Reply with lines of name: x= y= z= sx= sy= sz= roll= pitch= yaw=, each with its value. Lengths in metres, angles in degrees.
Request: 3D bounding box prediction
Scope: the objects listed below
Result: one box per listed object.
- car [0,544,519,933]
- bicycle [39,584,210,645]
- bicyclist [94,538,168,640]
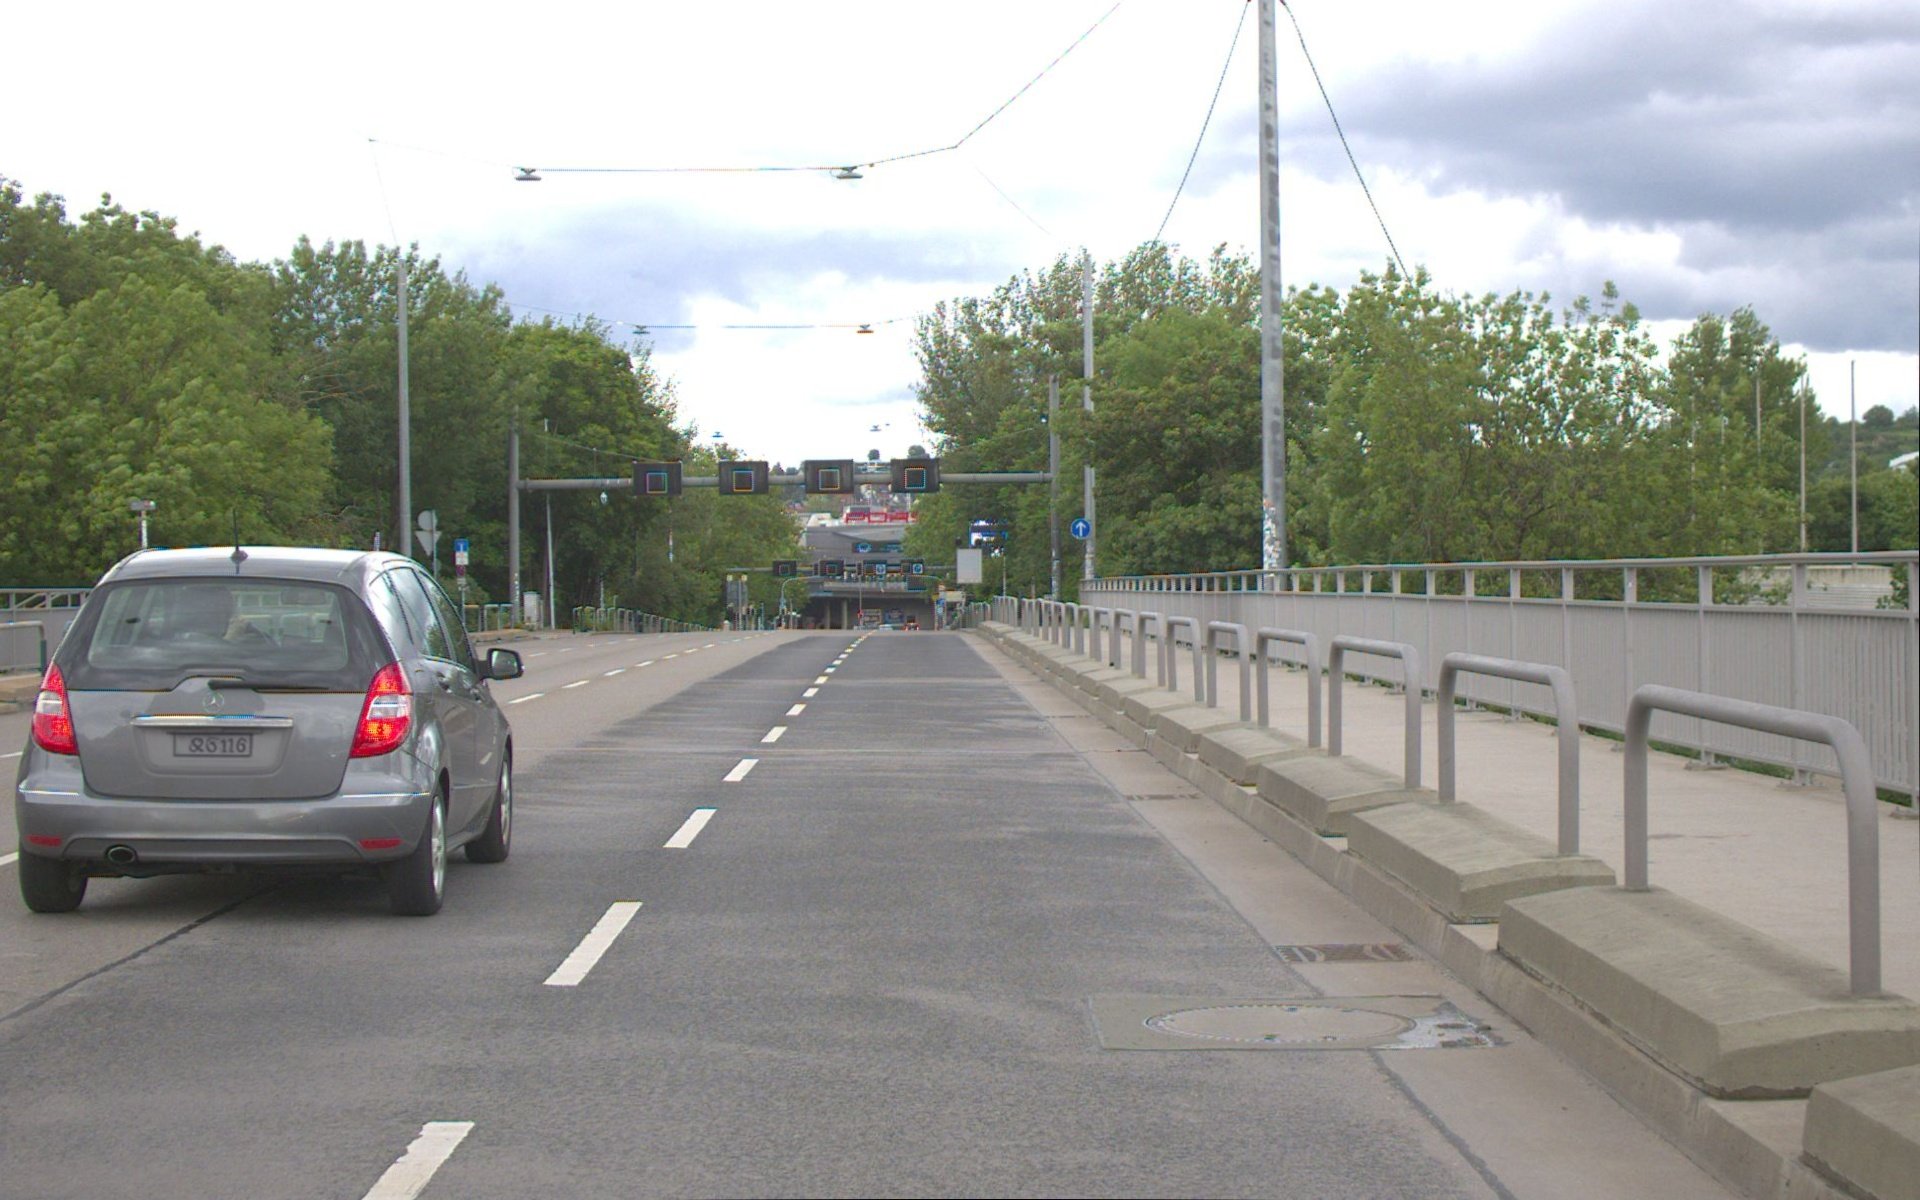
car: x=-3.101 y=0.526 z=15.723 sx=1.745 sy=1.545 sz=3.871 roll=0 pitch=1 yaw=-1
bicycle: x=-14.597 y=0.249 z=60.125 sx=2.790 sy=1.047 sz=0.921 roll=0 pitch=0 yaw=-6
bicyclist: x=-14.497 y=-0.190 z=60.128 sx=1.132 sy=1.758 sz=0.905 roll=0 pitch=0 yaw=-6
